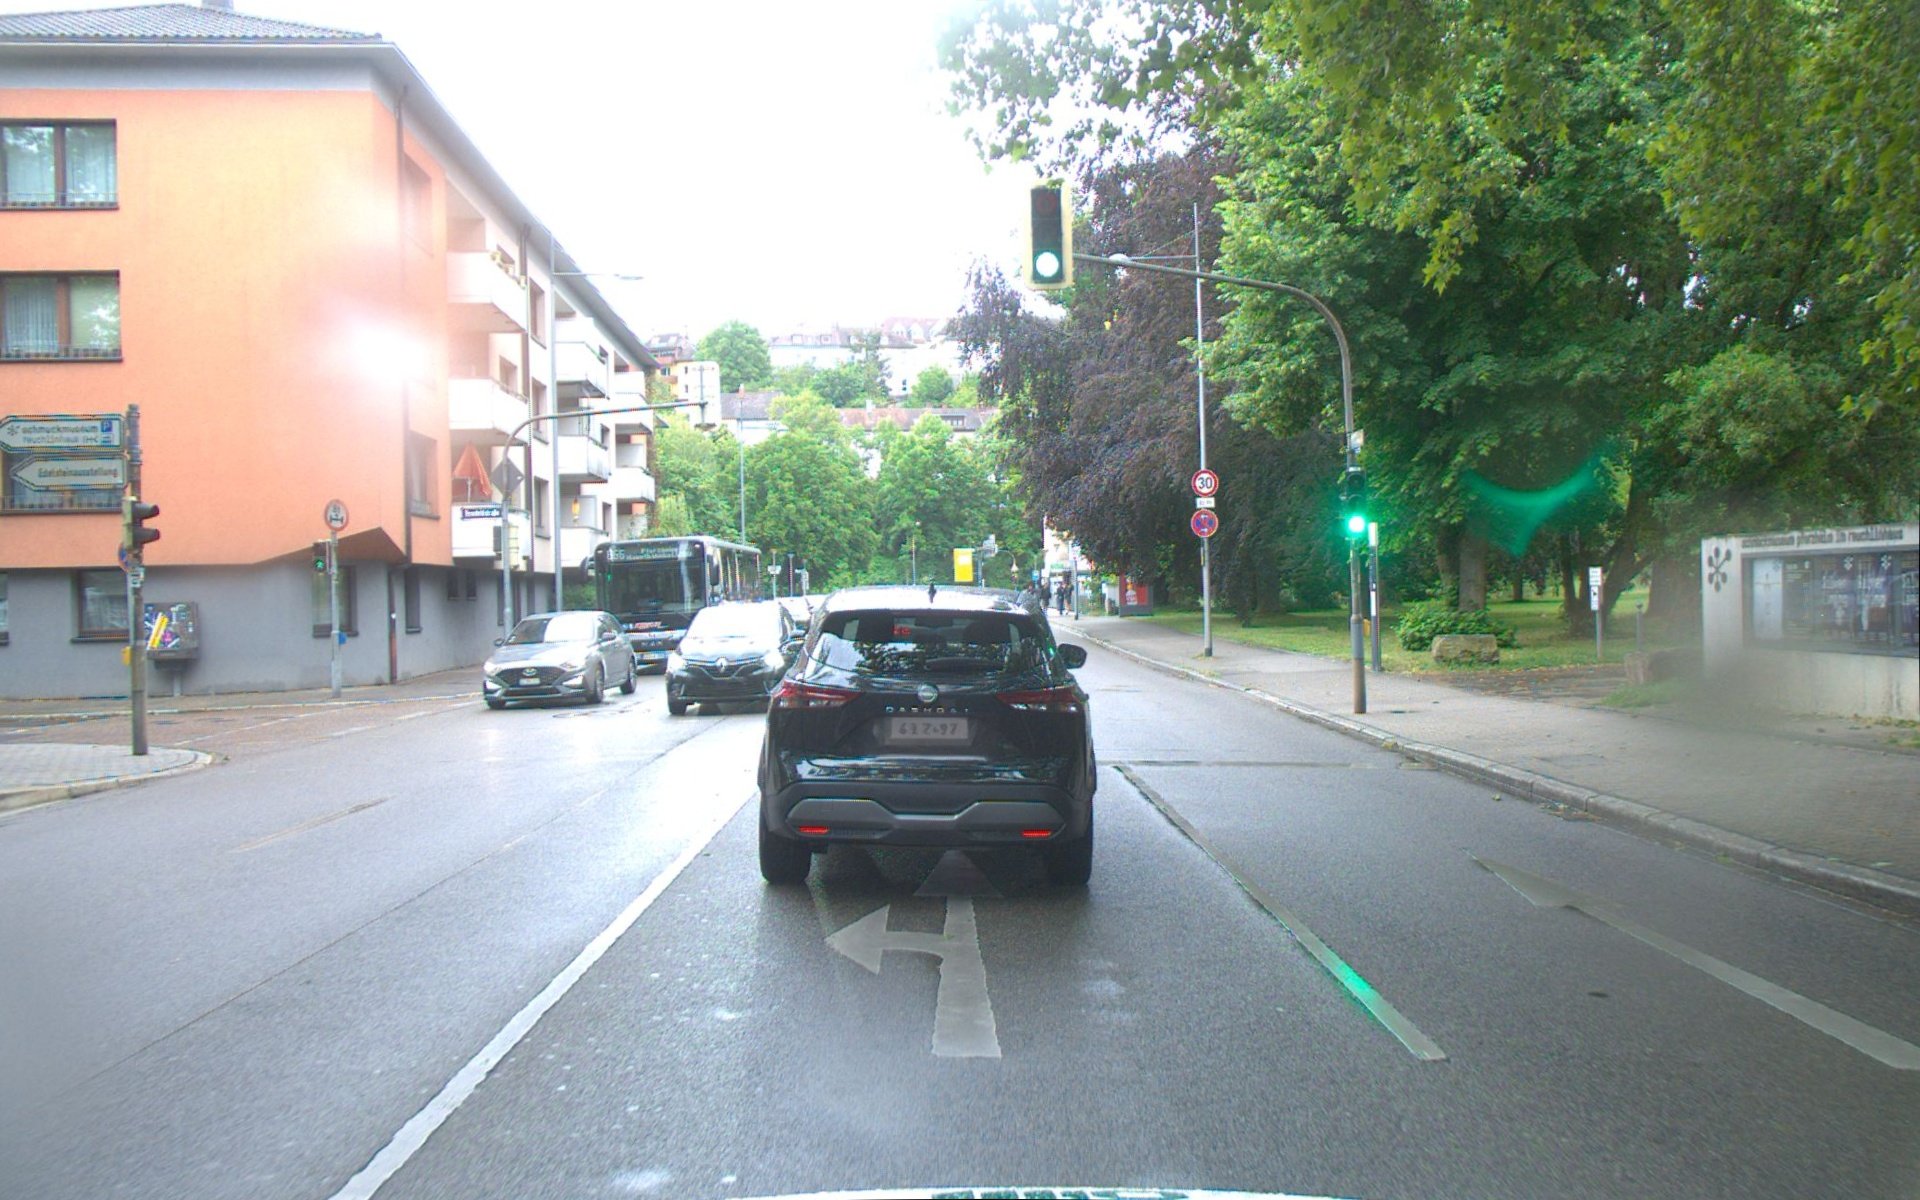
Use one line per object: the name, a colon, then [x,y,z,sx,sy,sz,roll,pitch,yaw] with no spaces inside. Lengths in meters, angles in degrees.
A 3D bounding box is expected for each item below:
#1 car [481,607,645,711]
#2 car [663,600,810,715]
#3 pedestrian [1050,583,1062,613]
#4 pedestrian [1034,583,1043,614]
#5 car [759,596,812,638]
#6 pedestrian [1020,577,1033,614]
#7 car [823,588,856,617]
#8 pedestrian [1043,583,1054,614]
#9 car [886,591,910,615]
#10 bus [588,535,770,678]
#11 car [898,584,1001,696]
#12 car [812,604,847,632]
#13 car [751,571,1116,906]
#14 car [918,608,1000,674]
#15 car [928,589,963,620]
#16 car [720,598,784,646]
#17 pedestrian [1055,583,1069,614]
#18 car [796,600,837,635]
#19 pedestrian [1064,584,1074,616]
car: [-6.415,0.900,27.129,1.772,1.441,4.029,-3,0,-2]
car: [-3.099,0.756,23.538,1.591,1.439,3.454,-2,0,0]
pedestrian: [5.845,-0.113,100.742,0.606,1.810,0.778,-2,0,-1]
pedestrian: [4.279,-0.082,90.431,0.465,1.680,0.490,1,-1,0]
car: [-6.881,0.648,65.533,1.712,1.495,4.215,-3,0,-2]
pedestrian: [4.108,-0.262,101.699,0.752,2.222,0.711,1,-1,2]
car: [-7.328,0.132,100.580,1.714,1.662,3.634,-2,0,-1]
pedestrian: [4.856,-0.071,90.666,0.533,1.680,0.490,1,-1,0]
car: [-5.019,0.231,133.773,1.728,1.788,3.634,-2,0,-1]
bus: [-6.795,0.153,41.882,2.710,3.026,11.778,-2,0,-1]
car: [-0.139,0.636,28.440,1.588,1.738,3.771,-2,0,1]
car: [-6.958,0.952,88.155,1.643,1.318,3.750,-3,0,-2]
car: [-0.159,0.698,10.115,1.769,1.618,3.999,1,-1,-1]
car: [-0.075,0.920,38.889,1.772,1.442,4.029,0,0,-2]
car: [-0.705,0.205,81.155,1.591,1.439,3.454,-2,0,0]
car: [-7.140,0.735,57.101,1.740,1.495,4.215,-3,0,-2]
pedestrian: [5.580,-0.060,90.722,0.685,1.680,0.628,1,-1,0]
car: [-6.773,0.808,78.376,1.643,1.495,4.215,-3,0,-2]
pedestrian: [5.865,0.010,88.901,0.504,1.684,0.550,1,-1,-1]
